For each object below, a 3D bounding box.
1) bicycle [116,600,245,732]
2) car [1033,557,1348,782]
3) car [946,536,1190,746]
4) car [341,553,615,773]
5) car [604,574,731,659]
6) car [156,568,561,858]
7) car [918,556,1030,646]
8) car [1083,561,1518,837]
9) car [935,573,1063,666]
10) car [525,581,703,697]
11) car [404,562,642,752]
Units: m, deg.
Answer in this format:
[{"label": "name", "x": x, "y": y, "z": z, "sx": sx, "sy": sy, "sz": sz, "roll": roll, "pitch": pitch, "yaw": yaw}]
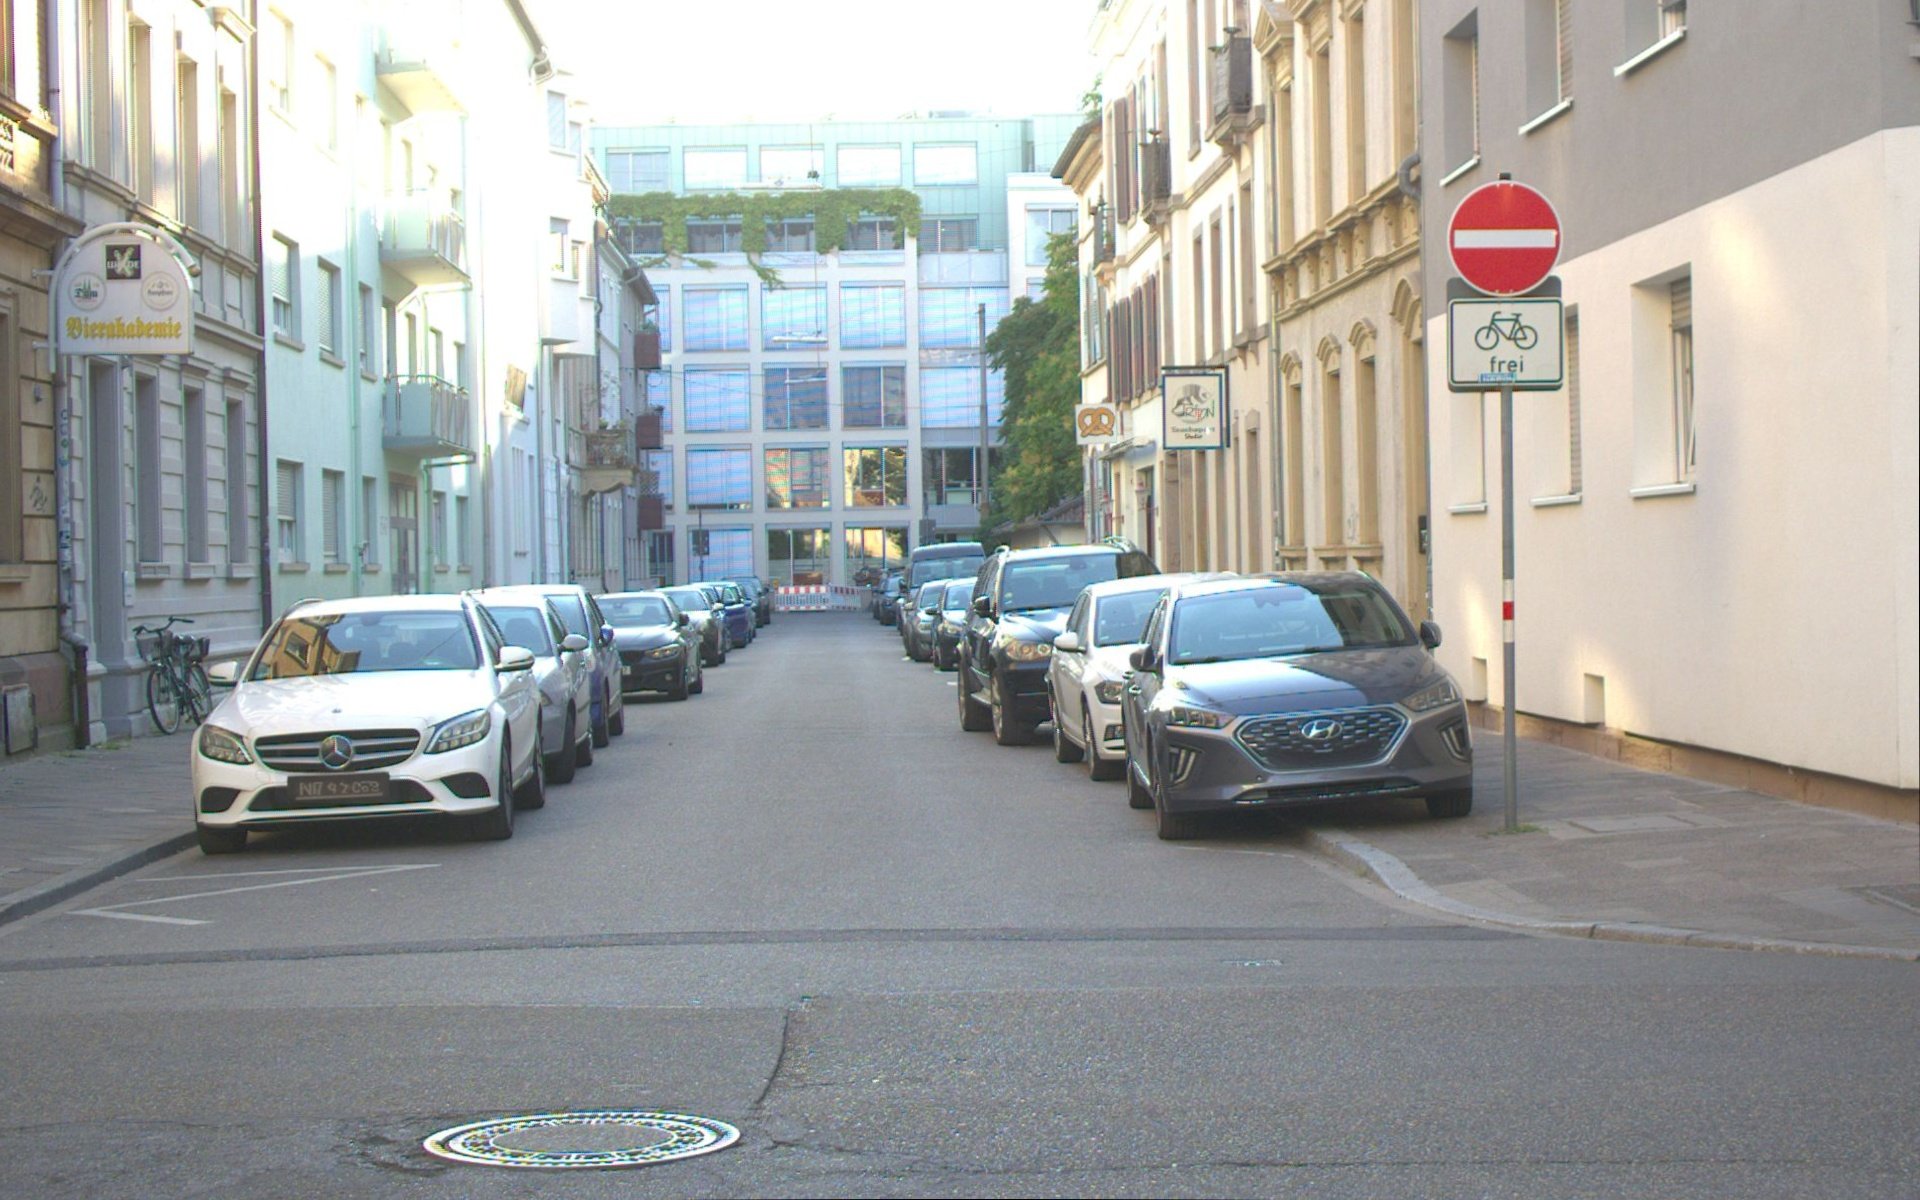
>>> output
[{"label": "bicycle", "x": -7.347, "y": 0.600, "z": 32.524, "sx": 0.737, "sy": 1.157, "sz": 2.461, "roll": -1, "pitch": 1, "yaw": -2}, {"label": "car", "x": 1.684, "y": 0.469, "z": 26.374, "sx": 1.963, "sy": 1.552, "sz": 3.889, "roll": -1, "pitch": 1, "yaw": -3}, {"label": "car", "x": 0.929, "y": 0.327, "z": 31.773, "sx": 1.893, "sy": 1.778, "sz": 4.001, "roll": -1, "pitch": 1, "yaw": -3}, {"label": "car", "x": -3.694, "y": 0.435, "z": 26.888, "sx": 1.625, "sy": 1.571, "sz": 3.754, "roll": -1, "pitch": 1, "yaw": -1}, {"label": "car", "x": -5.247, "y": 0.276, "z": 61.892, "sx": 2.172, "sy": 1.413, "sz": 4.001, "roll": -1, "pitch": 1, "yaw": -4}, {"label": "car", "x": -3.621, "y": 0.609, "z": 21.483, "sx": 1.993, "sy": 1.559, "sz": 4.507, "roll": -1, "pitch": 1, "yaw": -4}, {"label": "car", "x": 0.248, "y": -0.007, "z": 67.592, "sx": 1.993, "sy": 1.694, "sz": 4.001, "roll": -1, "pitch": 1, "yaw": -3}, {"label": "car", "x": 1.896, "y": 0.507, "z": 20.307, "sx": 1.938, "sy": 1.367, "sz": 3.789, "roll": -3, "pitch": 1, "yaw": -3}, {"label": "car", "x": 0.607, "y": 0.294, "z": 57.062, "sx": 1.993, "sy": 1.446, "sz": 4.000, "roll": -1, "pitch": 1, "yaw": -1}, {"label": "car", "x": -4.386, "y": 0.462, "z": 44.185, "sx": 1.993, "sy": 1.350, "sz": 4.429, "roll": -1, "pitch": 1, "yaw": -2}, {"label": "car", "x": -4.080, "y": 0.487, "z": 32.621, "sx": 1.785, "sy": 1.653, "sz": 3.817, "roll": -1, "pitch": 1, "yaw": -1}]
